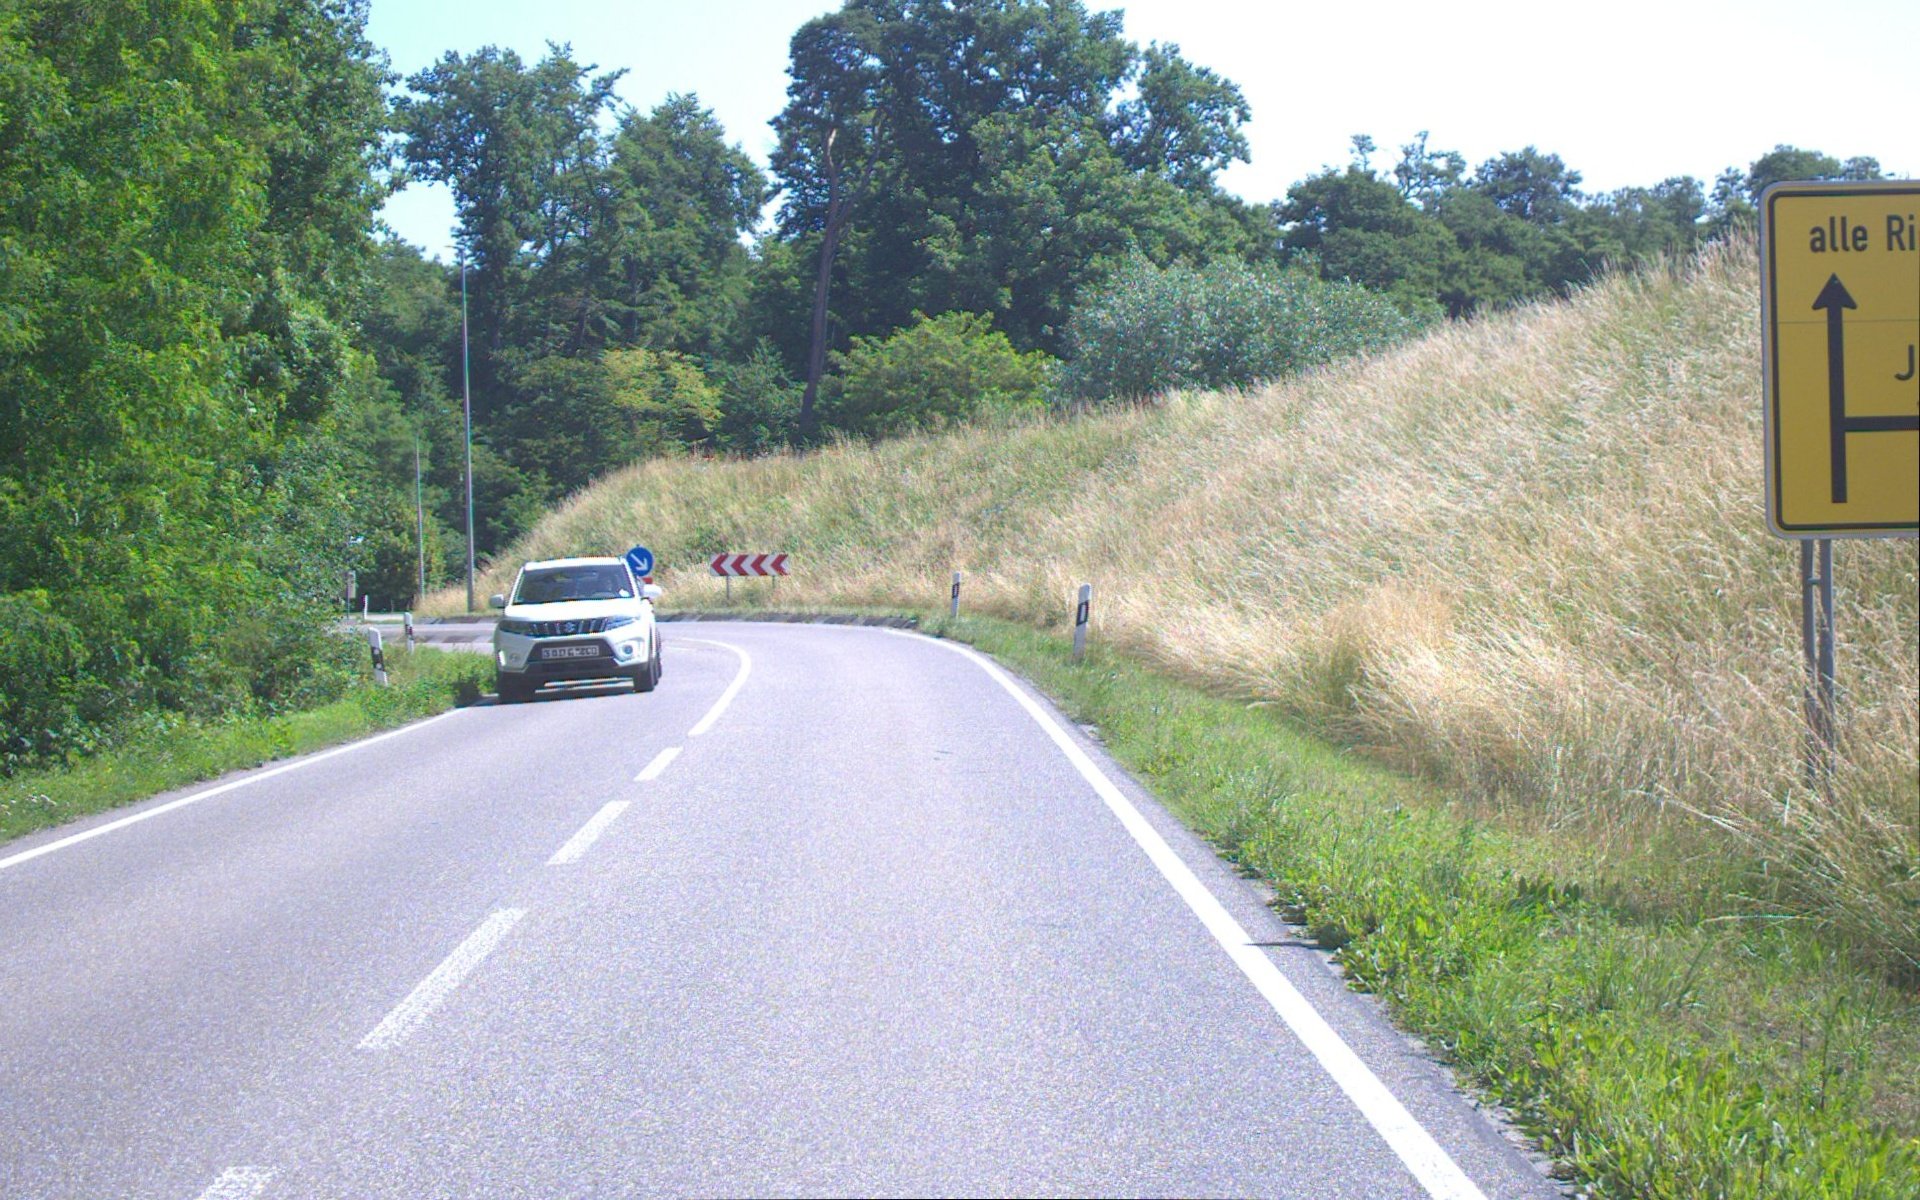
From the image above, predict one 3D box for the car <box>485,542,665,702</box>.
[{"bbox_3d":[-4.473,0.214,40.395,1.809,1.671,4.001,-4,1,-4],"label":"car"}]
